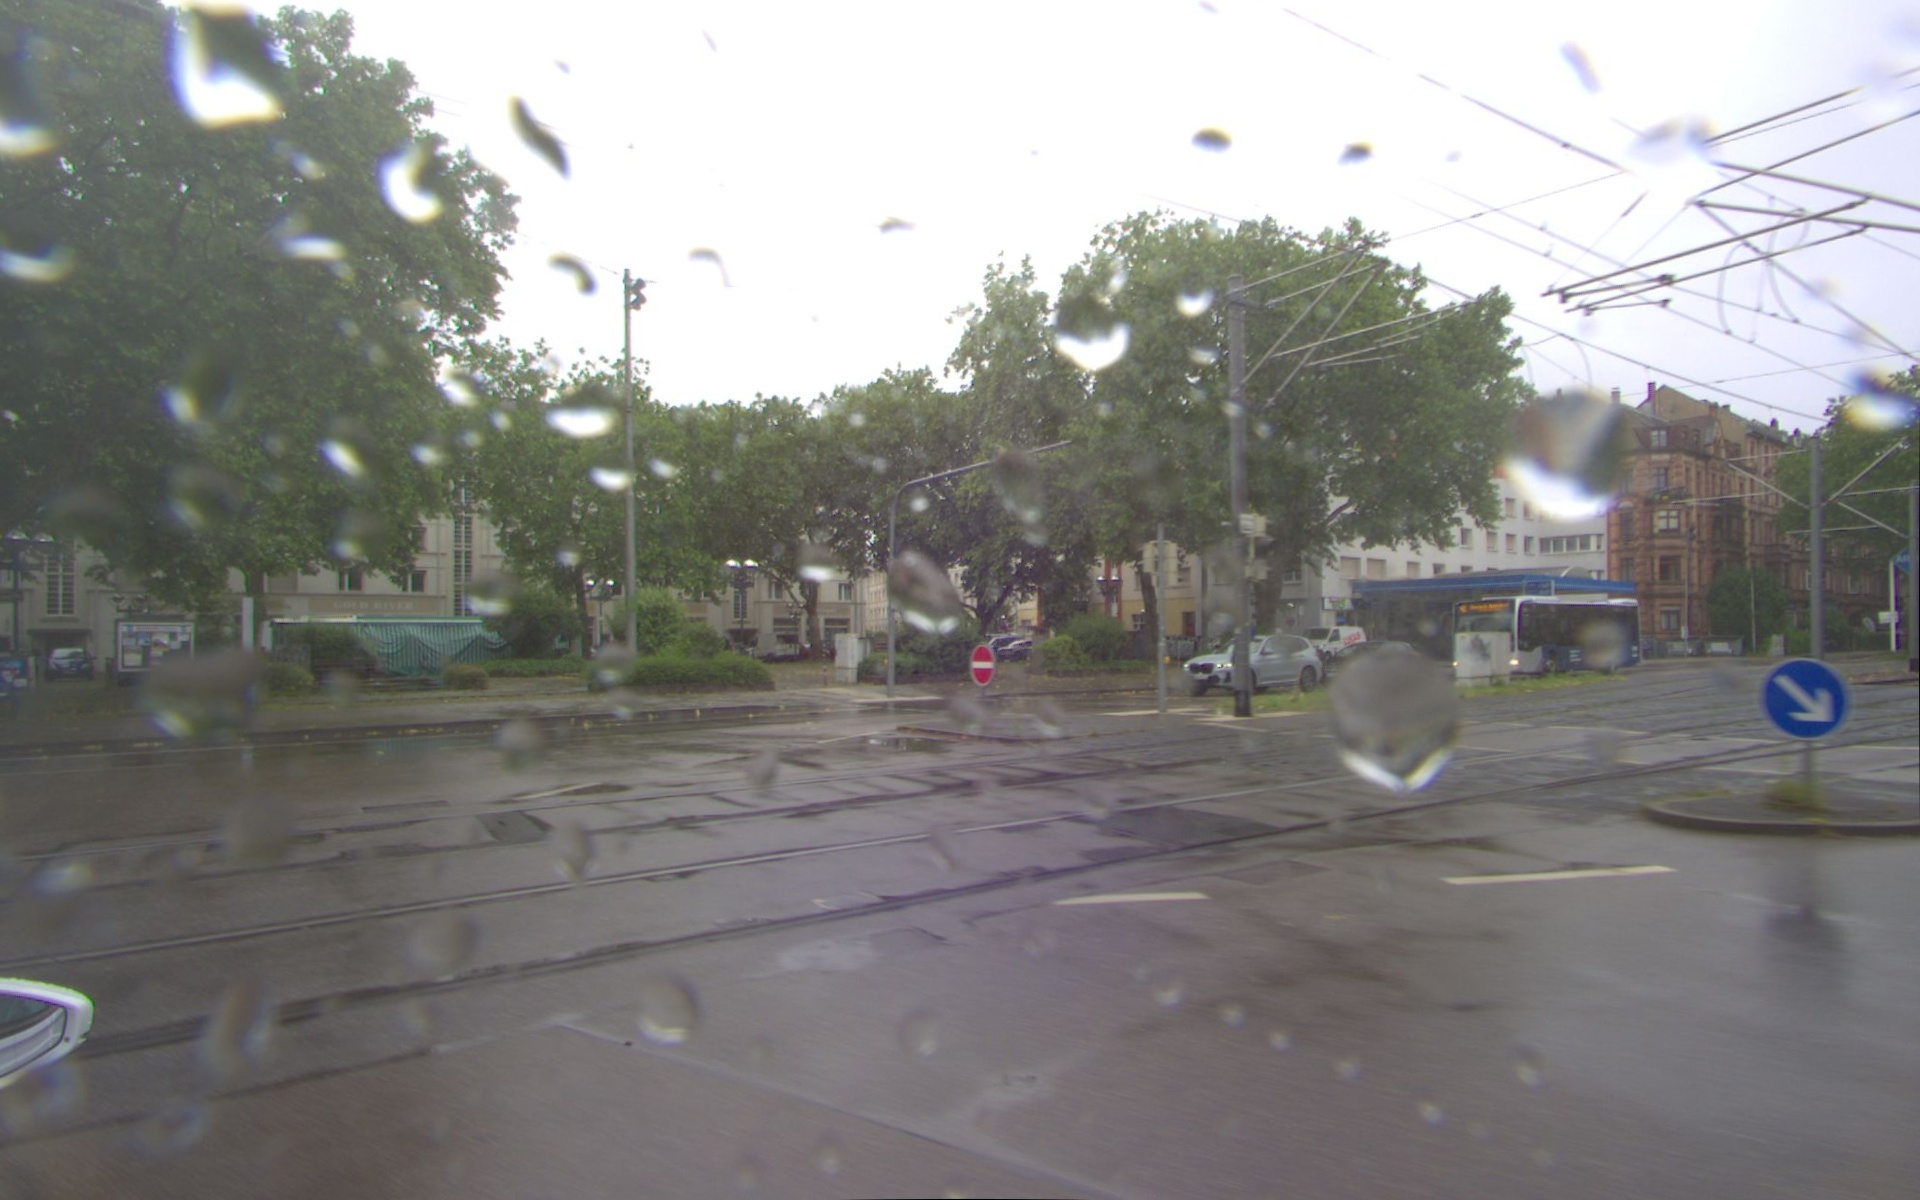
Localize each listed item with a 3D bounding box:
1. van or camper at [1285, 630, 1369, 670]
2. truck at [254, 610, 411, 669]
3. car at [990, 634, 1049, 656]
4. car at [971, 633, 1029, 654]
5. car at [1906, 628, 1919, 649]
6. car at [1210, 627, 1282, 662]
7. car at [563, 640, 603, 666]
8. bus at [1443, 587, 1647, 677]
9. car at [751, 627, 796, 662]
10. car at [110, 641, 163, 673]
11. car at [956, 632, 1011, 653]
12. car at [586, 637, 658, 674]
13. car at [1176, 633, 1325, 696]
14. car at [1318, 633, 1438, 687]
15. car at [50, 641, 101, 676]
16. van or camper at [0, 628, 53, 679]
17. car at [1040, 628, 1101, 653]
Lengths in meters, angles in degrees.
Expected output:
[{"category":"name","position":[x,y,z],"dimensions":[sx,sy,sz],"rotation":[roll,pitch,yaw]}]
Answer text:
[{"category":"van or camper","position":[18.496,2.480,50.430],"dimensions":[4.620,1.939,1.983],"rotation":[1,-2,-40]},{"category":"truck","position":[-30.706,1.933,49.171],"dimensions":[6.328,2.733,2.250],"rotation":[1,-3,-39]},{"category":"car","position":[4.218,3.151,70.377],"dimensions":[3.949,1.470,1.666],"rotation":[1,-2,-35]},{"category":"car","position":[2.915,3.134,72.504],"dimensions":[3.949,1.470,1.666],"rotation":[1,-2,-35]},{"category":"car","position":[78.374,3.074,79.995],"dimensions":[3.763,1.644,1.769],"rotation":[-1,-2,29]},{"category":"car","position":[15.713,2.417,54.901],"dimensions":[4.214,1.801,1.724],"rotation":[1,-2,-40]},{"category":"car","position":[-23.711,3.341,62.925],"dimensions":[1.534,1.484,3.347],"rotation":[0,-4,-35]},{"category":"bus","position":[23.668,1.273,40.067],"dimensions":[11.960,3.153,2.872],"rotation":[1,-2,-38]},{"category":"car","position":[-13.019,3.112,69.806],"dimensions":[1.534,2.230,4.074],"rotation":[0,-4,-35]},{"category":"car","position":[-41.003,2.870,49.943],"dimensions":[1.663,1.449,3.716],"rotation":[0,-5,-34]},{"category":"car","position":[1.771,3.148,74.681],"dimensions":[3.949,1.470,1.666],"rotation":[1,-2,-35]},{"category":"car","position":[-15.198,2.465,44.919],"dimensions":[1.652,1.541,3.643],"rotation":[1,-2,-45]},{"category":"car","position":[8.294,1.765,28.402],"dimensions":[4.501,1.620,1.779],"rotation":[1,-2,-38]},{"category":"car","position":[13.457,1.887,32.191],"dimensions":[4.129,1.620,1.765],"rotation":[1,-2,-38]},{"category":"car","position":[-42.364,2.796,48.015],"dimensions":[1.666,1.595,3.707],"rotation":[1,-3,-39]},{"category":"van or camper","position":[-44.524,2.495,46.666],"dimensions":[2.371,2.259,5.400],"rotation":[0,-2,-32]},{"category":"car","position":[7.337,2.682,66.434],"dimensions":[3.850,1.571,1.815],"rotation":[1,-2,-39]}]
